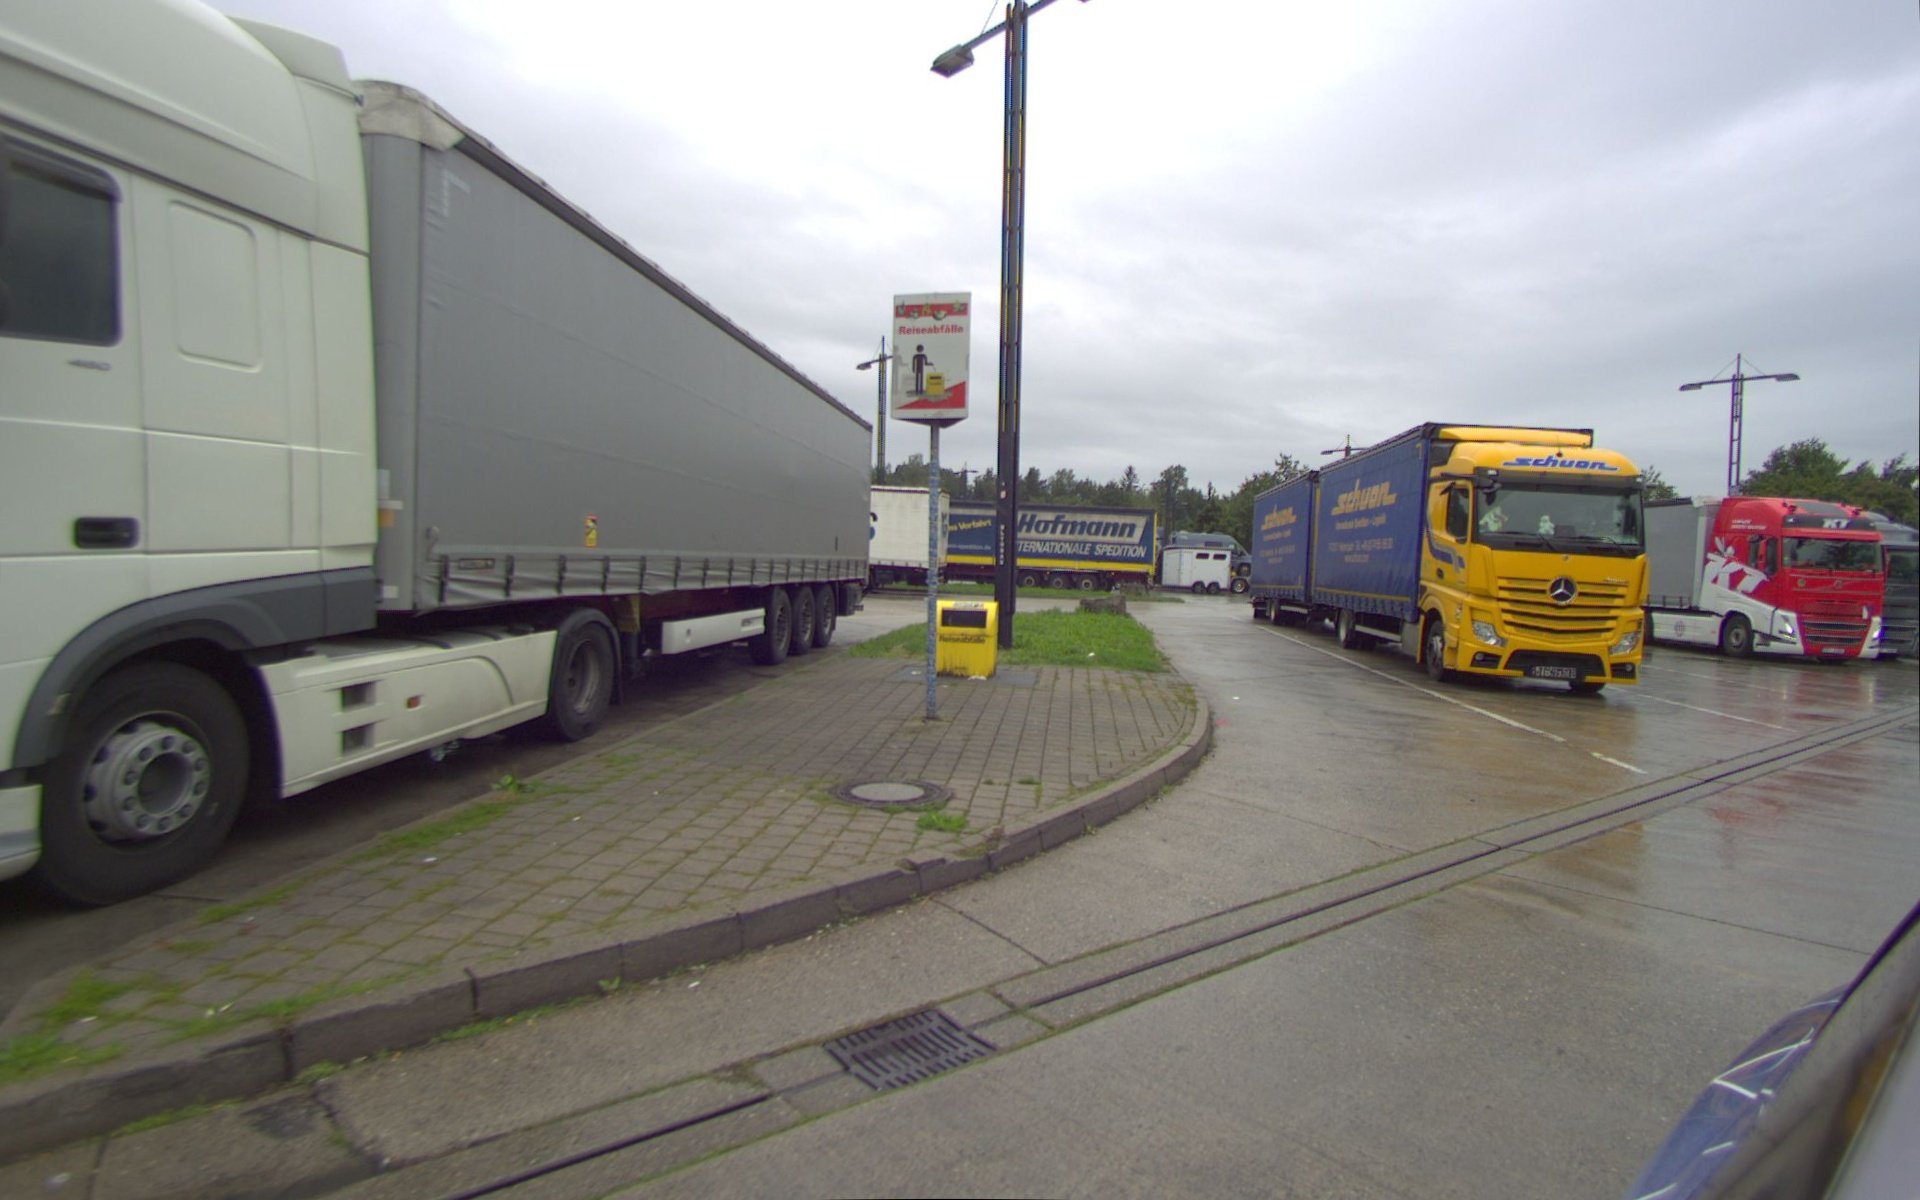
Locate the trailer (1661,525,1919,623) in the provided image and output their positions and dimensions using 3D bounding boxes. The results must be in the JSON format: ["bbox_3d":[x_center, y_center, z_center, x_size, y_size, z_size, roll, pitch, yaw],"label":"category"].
[{"bbox_3d":[41.446,-1.427,51.099,3.188,4.141,13.526,2,3,4],"label":"trailer"}]

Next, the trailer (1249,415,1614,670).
[{"bbox_3d":[9.848,-1.283,24.435,2.820,3.966,16.608,3,3,7],"label":"trailer"}]

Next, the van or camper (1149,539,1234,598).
[{"bbox_3d":[13.272,-1.748,58.201,4.529,3.278,2.265,0,0,7],"label":"van or camper"}]

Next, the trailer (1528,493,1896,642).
[{"bbox_3d":[24.528,-1.208,34.761,2.825,3.966,13.929,2,3,4],"label":"trailer"}]

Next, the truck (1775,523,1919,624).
[{"bbox_3d":[41.051,-1.185,45.083,3.188,4.141,7.934,2,2,4],"label":"truck"}]

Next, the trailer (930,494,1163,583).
[{"bbox_3d":[3.827,-2.708,45.585,10.205,3.803,2.067,0,0,5],"label":"trailer"}]

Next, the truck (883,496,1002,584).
[{"bbox_3d":[-0.758,-2.683,46.005,5.245,3.803,2.067,0,0,5],"label":"truck"}]

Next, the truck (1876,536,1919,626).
[{"bbox_3d":[48.834,-0.887,49.279,3.188,4.440,5.809,2,2,4],"label":"truck"}]

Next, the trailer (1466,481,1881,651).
[{"bbox_3d":[20.913,-1.146,31.868,3.188,3.966,14.823,2,3,4],"label":"trailer"}]

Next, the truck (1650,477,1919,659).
[{"bbox_3d":[20.475,-0.820,25.140,3.188,3.967,5.019,2,2,4],"label":"truck"}]

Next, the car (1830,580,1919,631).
[{"bbox_3d":[37.338,0.186,40.467,1.816,1.881,3.994,2,2,6],"label":"car"}]

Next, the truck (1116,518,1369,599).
[{"bbox_3d":[16.898,-2.569,61.775,14.321,4.440,3.472,2,2,8],"label":"truck"}]

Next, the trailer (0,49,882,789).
[{"bbox_3d":[-3.682,-1.305,12.538,2.795,3.966,13.938,3,3,6],"label":"trailer"}]

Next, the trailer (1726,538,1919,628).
[{"bbox_3d":[49.280,-1.013,56.222,3.188,4.440,14.387,2,2,4],"label":"trailer"}]

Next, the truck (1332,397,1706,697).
[{"bbox_3d":[9.042,-0.905,17.815,2.793,3.966,8.116,3,3,8],"label":"truck"}]

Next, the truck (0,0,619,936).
[{"bbox_3d":[-4.427,-0.948,5.566,2.782,3.960,5.404,2,2,6],"label":"truck"}]

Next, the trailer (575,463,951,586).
[{"bbox_3d":[-7.390,-2.732,38.439,13.923,4.312,2.663,0,0,7],"label":"trailer"}]

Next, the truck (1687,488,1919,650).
[{"bbox_3d":[24.127,-0.875,28.351,2.847,3.967,6.552,2,2,4],"label":"truck"}]
